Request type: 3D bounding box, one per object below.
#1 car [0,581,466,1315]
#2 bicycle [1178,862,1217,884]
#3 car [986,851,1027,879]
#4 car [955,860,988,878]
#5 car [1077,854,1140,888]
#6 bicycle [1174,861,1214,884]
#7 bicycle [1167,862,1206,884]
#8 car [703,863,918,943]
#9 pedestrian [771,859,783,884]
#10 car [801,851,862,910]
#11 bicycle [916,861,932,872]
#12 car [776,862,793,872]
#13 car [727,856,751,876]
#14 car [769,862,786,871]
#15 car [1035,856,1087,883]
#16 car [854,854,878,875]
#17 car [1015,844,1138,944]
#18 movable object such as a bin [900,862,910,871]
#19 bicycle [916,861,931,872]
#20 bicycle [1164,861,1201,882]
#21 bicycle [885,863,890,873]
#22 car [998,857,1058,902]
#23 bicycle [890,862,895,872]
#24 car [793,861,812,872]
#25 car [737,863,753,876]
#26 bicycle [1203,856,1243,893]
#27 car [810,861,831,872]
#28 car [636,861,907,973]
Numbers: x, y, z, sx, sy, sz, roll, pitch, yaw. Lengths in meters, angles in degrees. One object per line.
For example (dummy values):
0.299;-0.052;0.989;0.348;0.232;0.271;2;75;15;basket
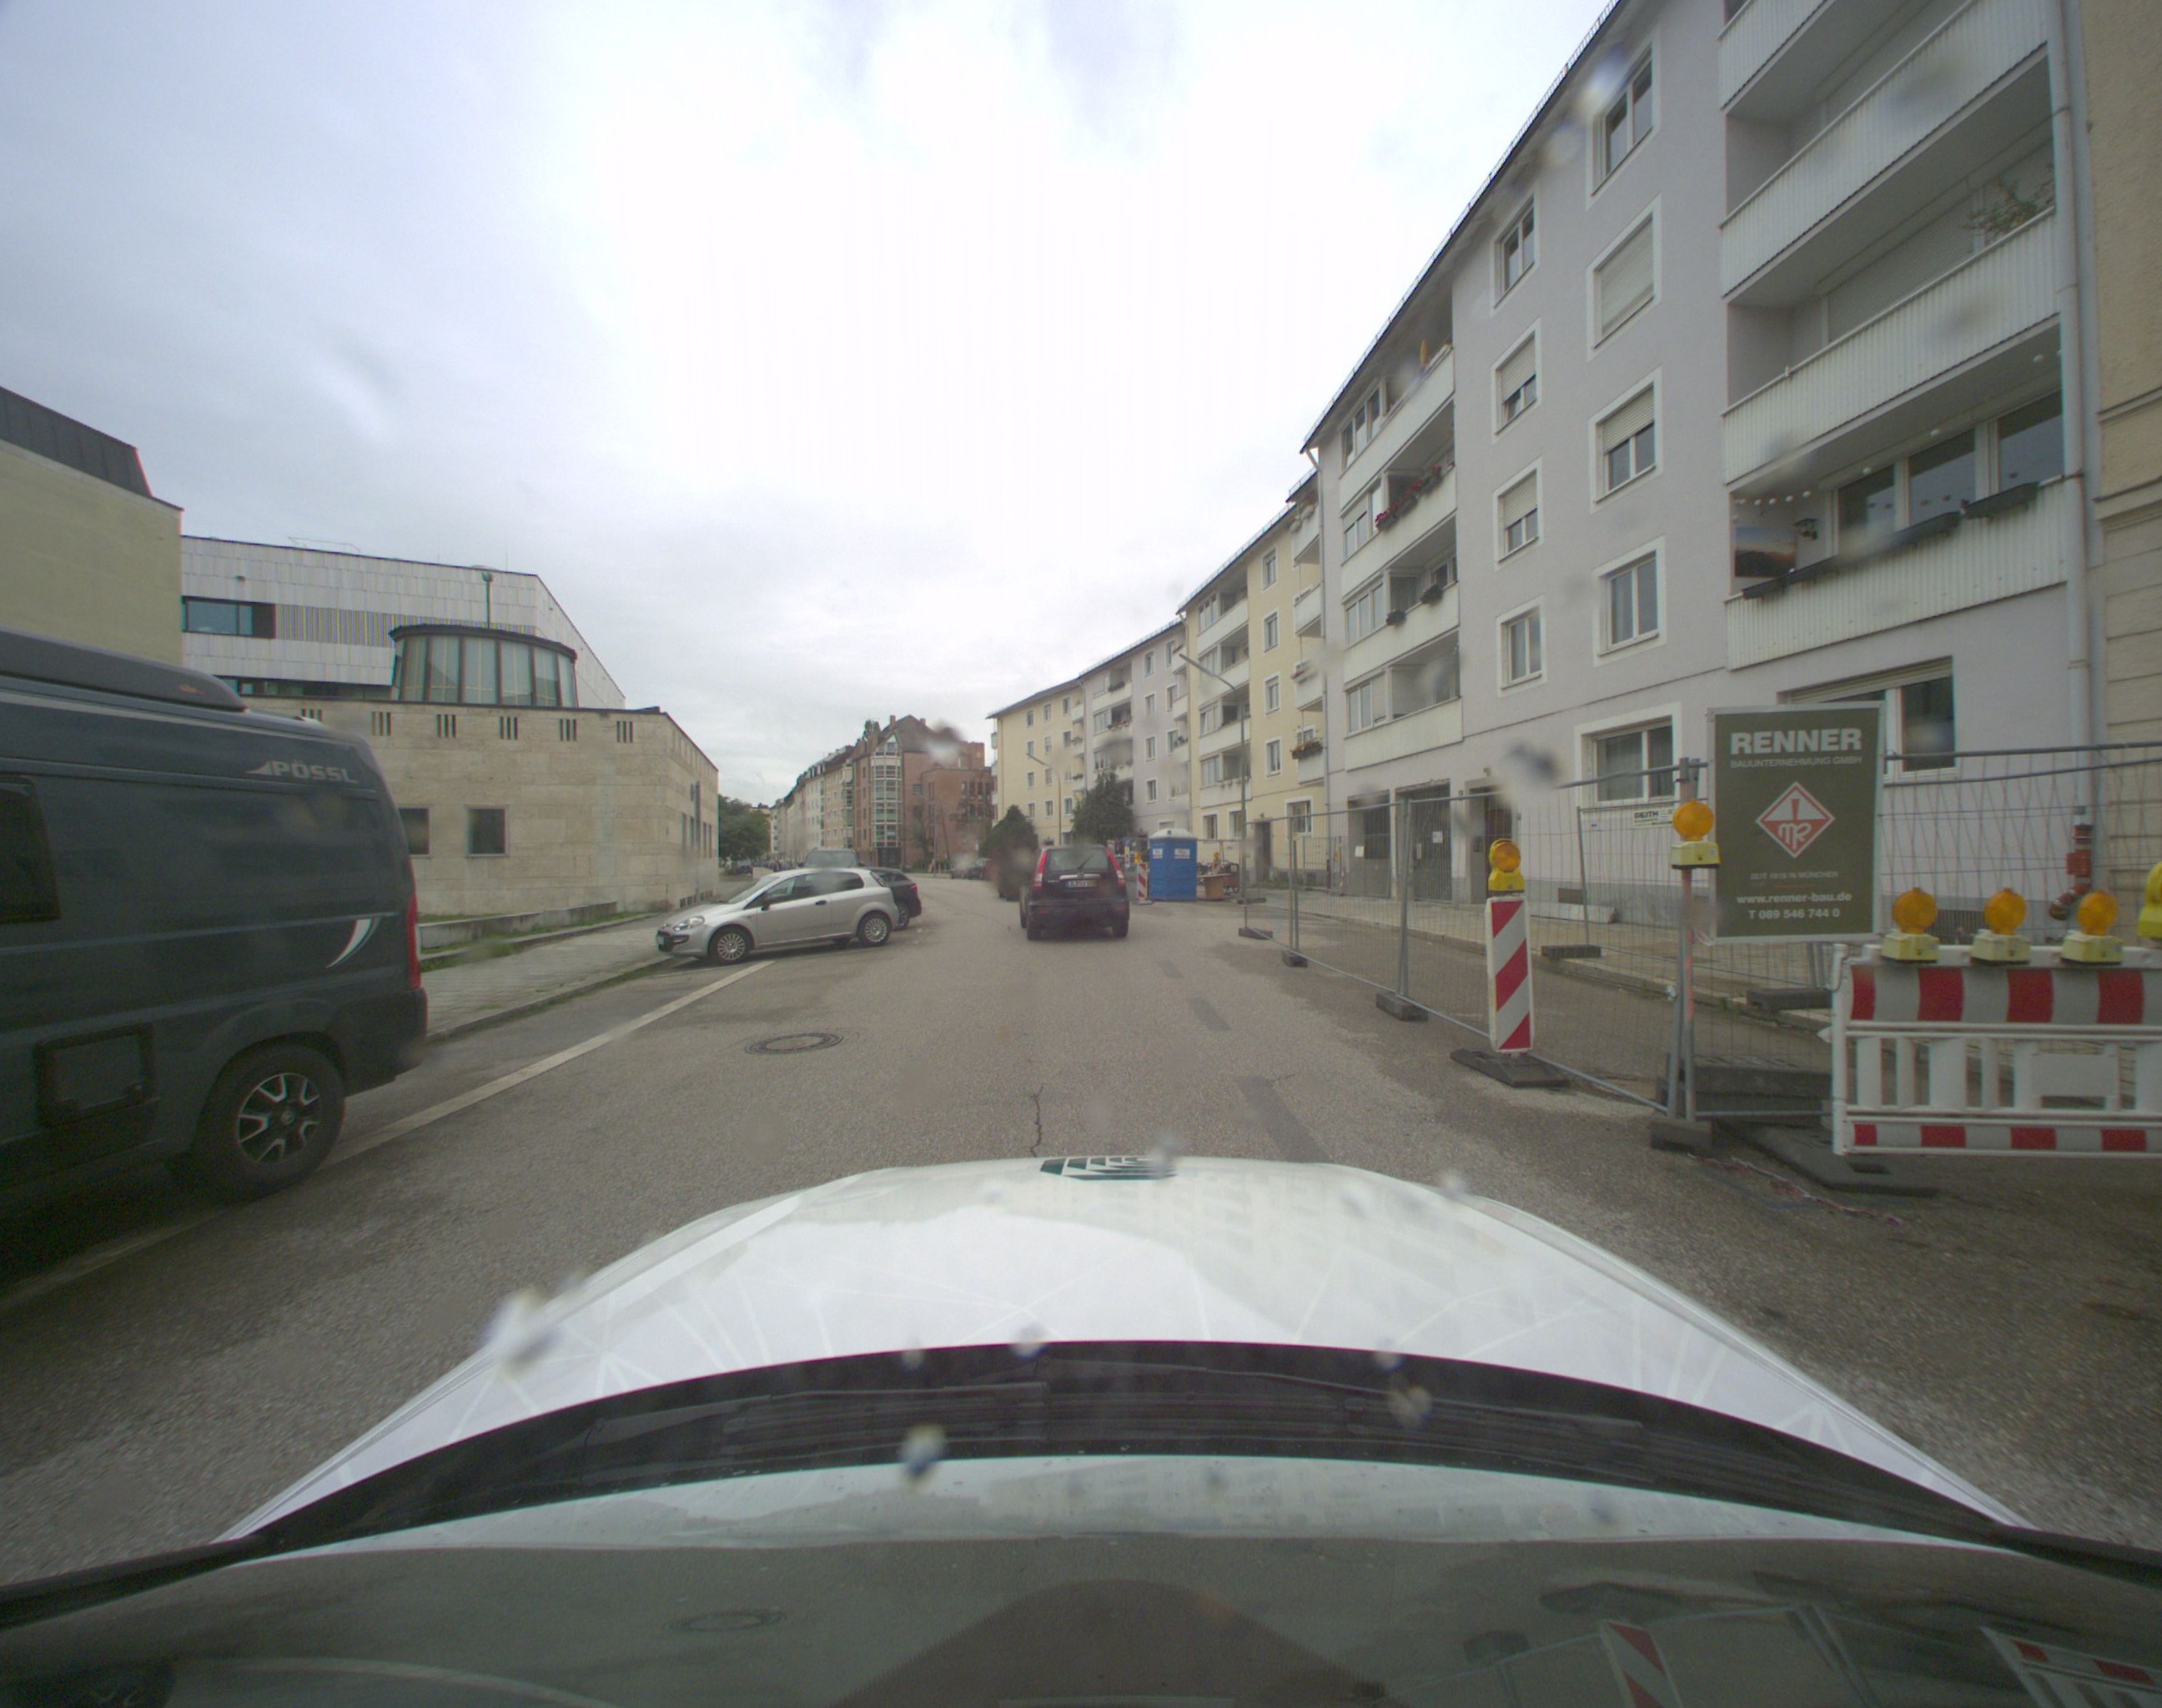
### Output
-4.943;0.364;2.177;2.159;2.641;6.011;-2;0;-3;car
5.840;0.948;40.773;1.867;1.091;0.563;0;0;-11;bicycle
-5.161;0.710;55.993;1.731;1.878;3.970;0;0;-23;car
-8.659;1.152;64.134;1.705;1.389;3.575;0;0;-23;car
1.217;0.741;37.721;1.728;1.483;3.977;0;0;-17;car
5.536;0.913;39.884;1.867;1.091;0.563;0;0;-11;bicycle
5.368;0.948;41.547;1.867;1.091;0.643;0;0;-11;bicycle
-5.777;0.966;17.624;4.106;1.481;1.665;-1;0;-38;car
-21.451;1.237;57.491;0.753;1.703;0.921;0;0;-17;pedestrian
-7.927;0.772;26.091;1.682;1.707;4.489;-1;0;-16;car
-18.389;1.461;95.571;1.760;1.288;0.549;0;0;-20;bicycle
-48.165;2.092;132.061;1.819;1.472;4.076;0;0;-32;car
-31.400;1.052;74.772;1.925;1.746;4.740;0;0;-24;car
-50.791;2.029;136.179;1.819;1.472;4.076;0;0;-32;car
-1.204;0.855;47.213;1.731;1.483;3.970;0;0;-23;car
-20.534;0.963;77.682;1.718;1.946;3.969;0;0;-23;car
-0.221;0.661;15.626;1.889;1.647;3.981;-1;0;-7;car
-21.816;1.486;100.877;0.970;1.085;1.970;0;0;-22;movable object such as a bin
-18.604;1.490;96.198;1.760;1.288;0.549;0;0;-20;bicycle
5.434;0.947;43.601;1.867;1.091;0.643;0;0;-11;bicycle
-25.256;1.805;106.245;0.553;1.288;1.748;0;0;-19;bicycle
-1.962;0.846;29.182;1.679;1.481;4.072;-1;0;-10;car
-24.661;1.748;106.595;0.553;1.288;1.748;0;0;-19;bicycle
-40.431;1.814;118.255;1.819;1.472;4.076;0;0;-32;car
-45.469;2.050;110.014;1.925;1.746;4.740;0;0;-24;car
5.549;0.768;32.028;0.967;1.388;2.559;0;0;-5;bicycle
-35.343;1.661;110.546;1.819;1.472;4.076;0;0;-32;car
-5.370;1.035;14.421;4.108;1.481;1.664;-4;-2;-40;car
